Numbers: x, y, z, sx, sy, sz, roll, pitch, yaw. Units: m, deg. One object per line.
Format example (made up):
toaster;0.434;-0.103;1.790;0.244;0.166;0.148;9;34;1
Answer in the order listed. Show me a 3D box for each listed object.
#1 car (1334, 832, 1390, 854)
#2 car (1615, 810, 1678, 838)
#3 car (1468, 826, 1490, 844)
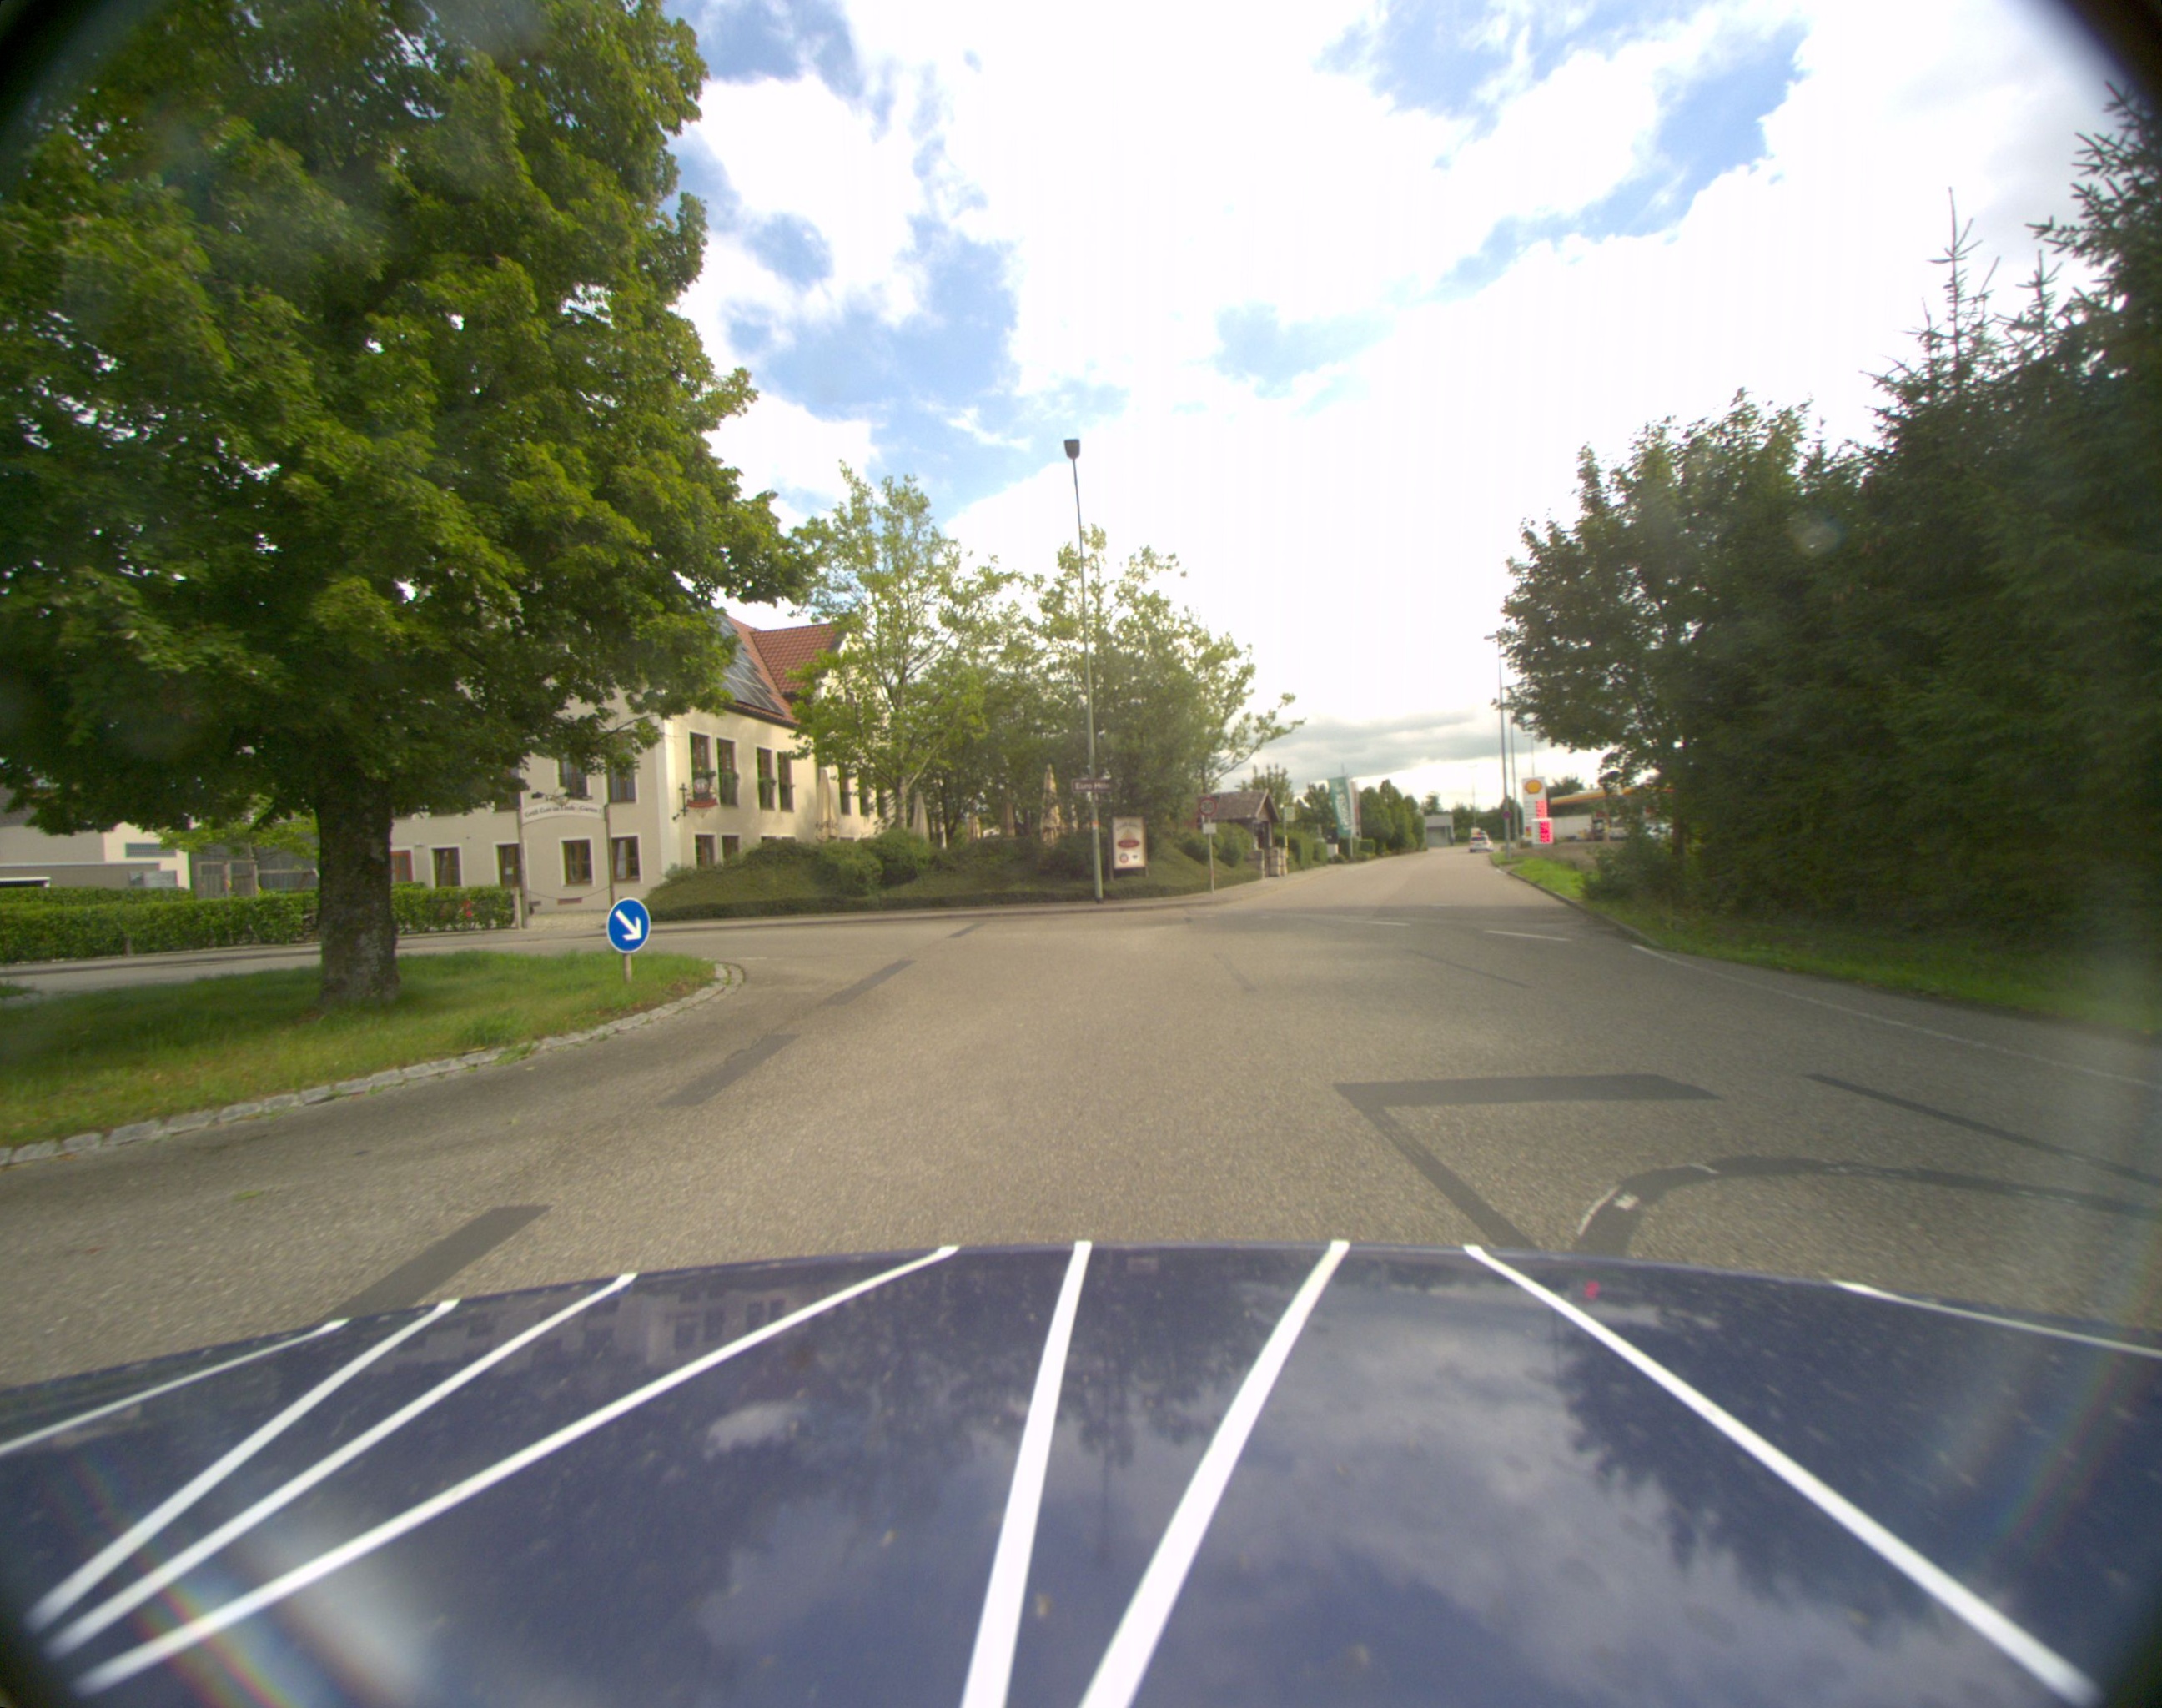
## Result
car;25.067;-0.990;67.891;4.352;1.706;1.660;-3;0;35
car;61.058;-3.230;82.105;5.811;2.770;2.222;-3;0;-15
car;37.990;-1.802;72.561;1.700;1.655;4.038;-1;1;25
